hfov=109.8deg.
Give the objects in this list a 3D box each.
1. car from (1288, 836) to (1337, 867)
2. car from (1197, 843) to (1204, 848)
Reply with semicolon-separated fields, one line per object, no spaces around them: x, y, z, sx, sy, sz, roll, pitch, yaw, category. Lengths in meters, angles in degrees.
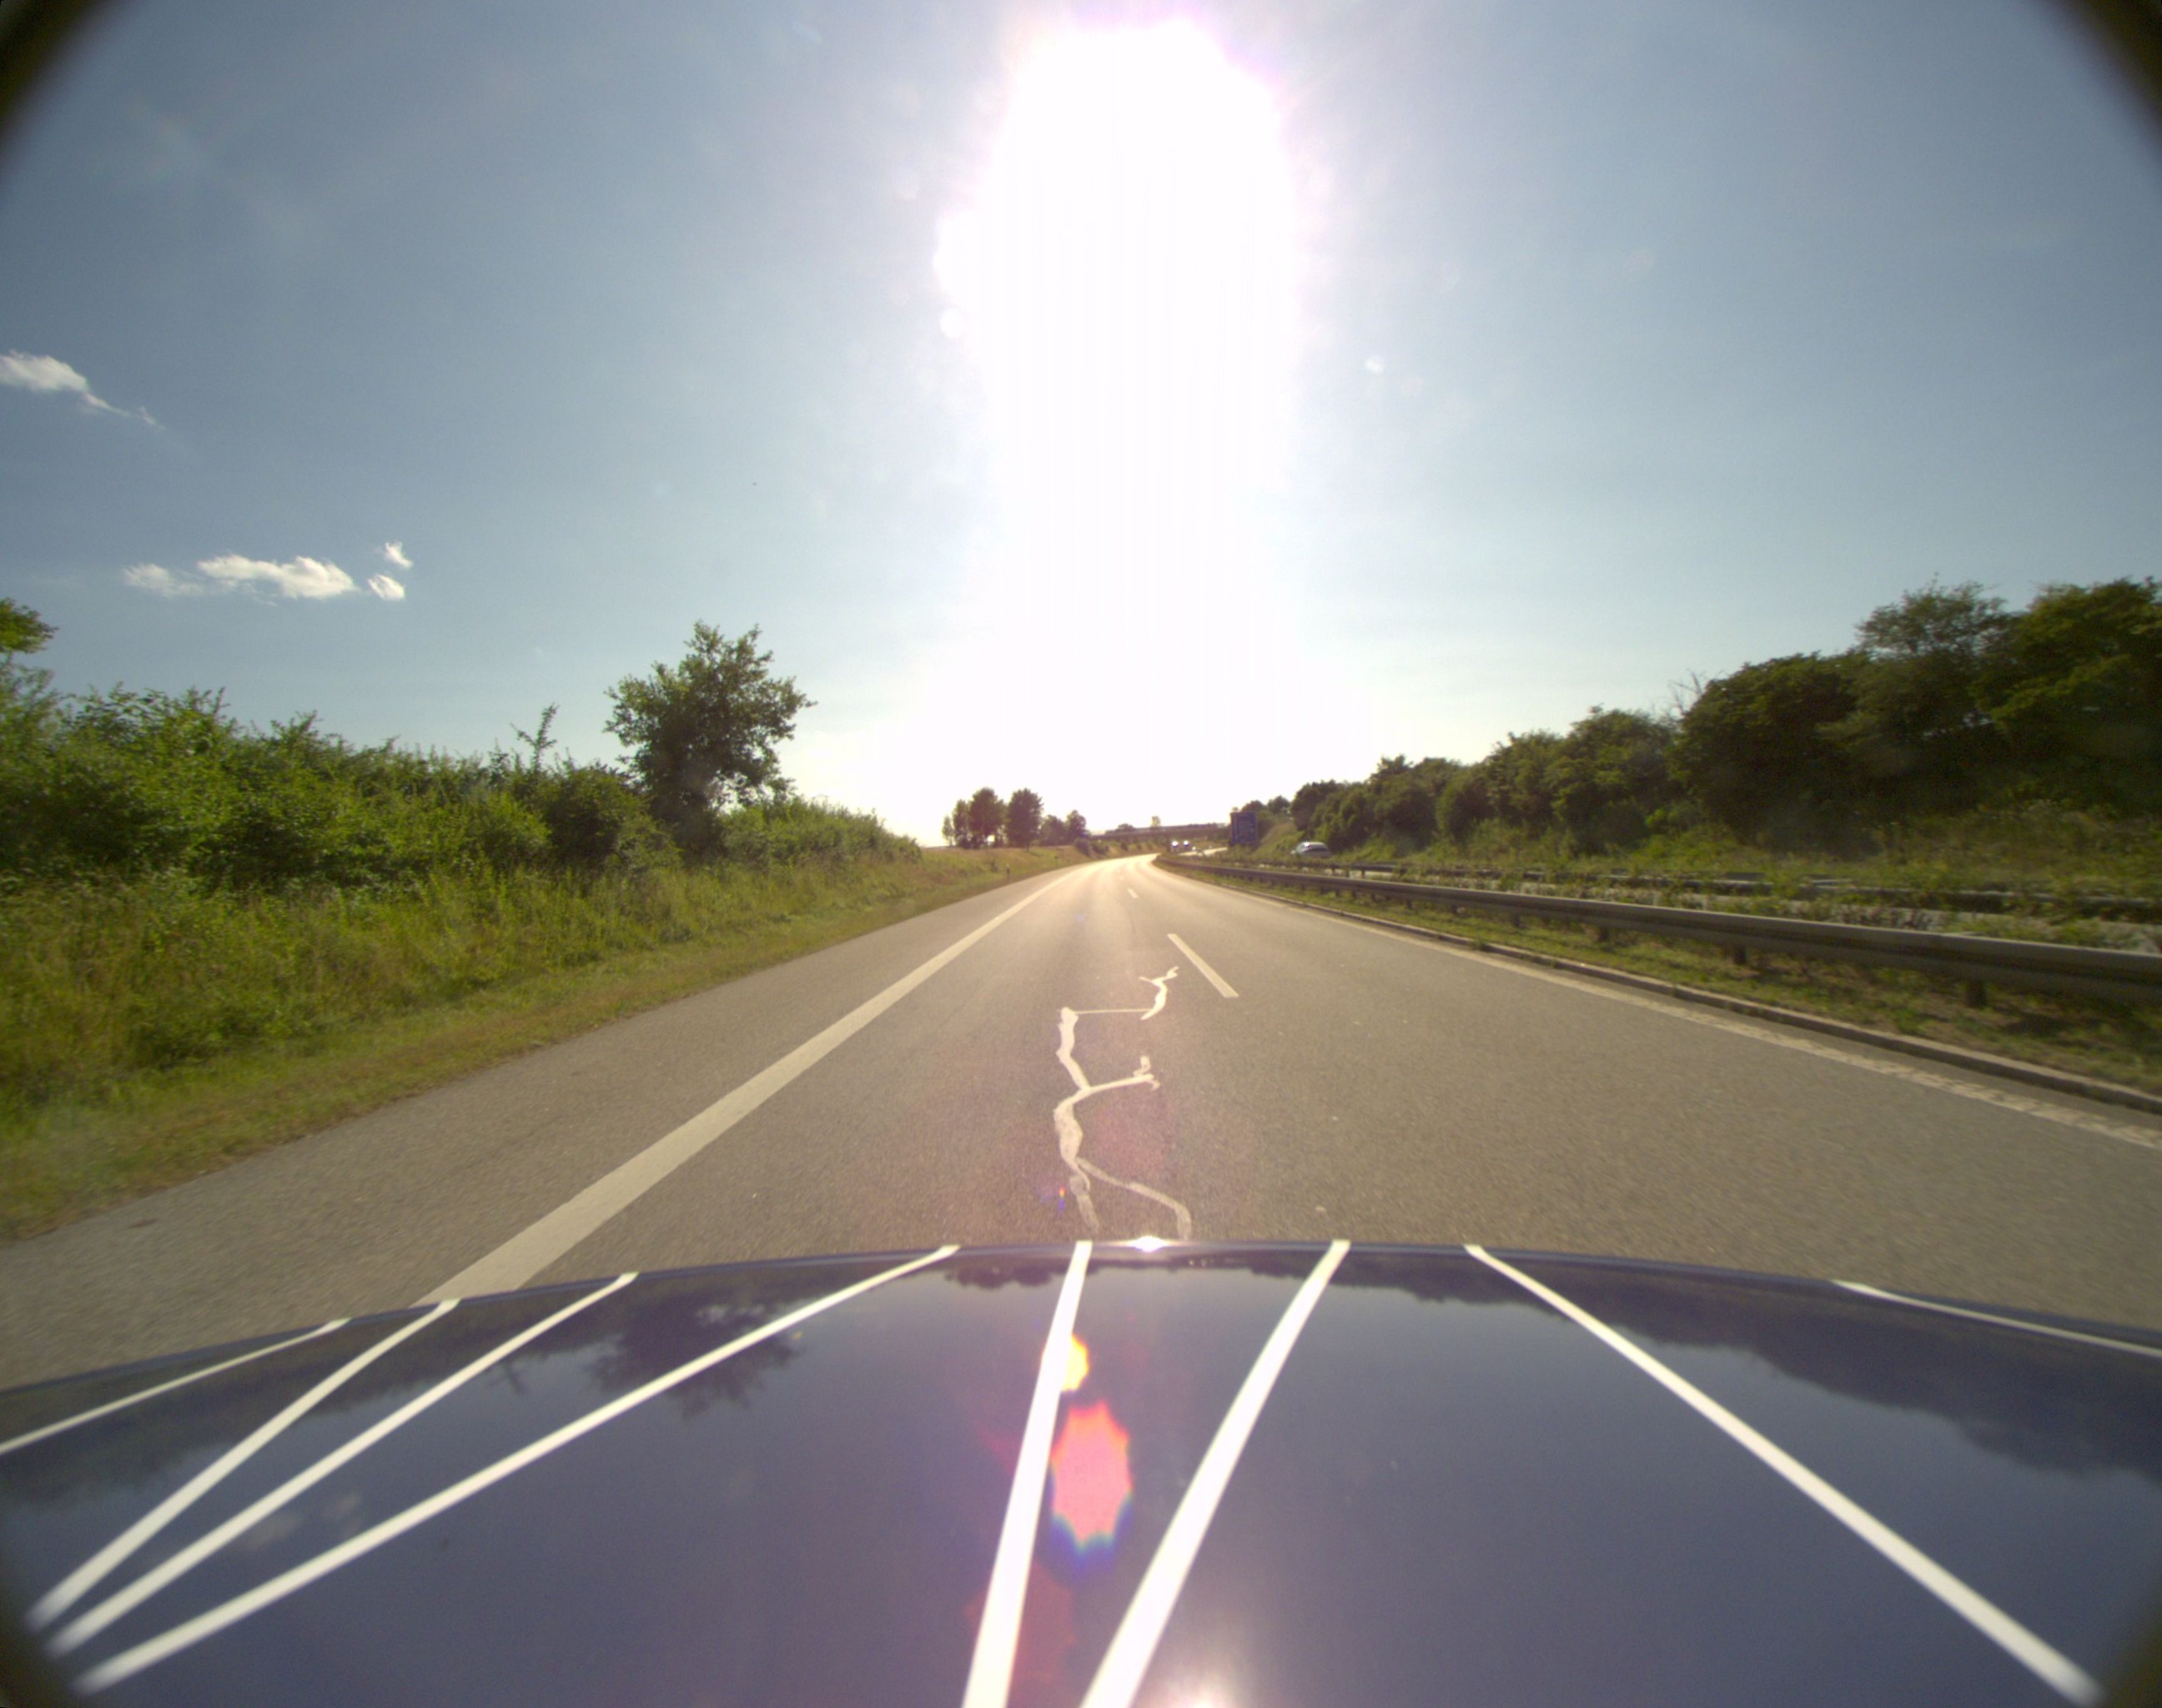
16.097;-0.197;53.038;1.998;2.002;4.855;-2;1;2;car
35.936;-2.506;228.241;1.860;1.589;4.001;-2;1;7;car
